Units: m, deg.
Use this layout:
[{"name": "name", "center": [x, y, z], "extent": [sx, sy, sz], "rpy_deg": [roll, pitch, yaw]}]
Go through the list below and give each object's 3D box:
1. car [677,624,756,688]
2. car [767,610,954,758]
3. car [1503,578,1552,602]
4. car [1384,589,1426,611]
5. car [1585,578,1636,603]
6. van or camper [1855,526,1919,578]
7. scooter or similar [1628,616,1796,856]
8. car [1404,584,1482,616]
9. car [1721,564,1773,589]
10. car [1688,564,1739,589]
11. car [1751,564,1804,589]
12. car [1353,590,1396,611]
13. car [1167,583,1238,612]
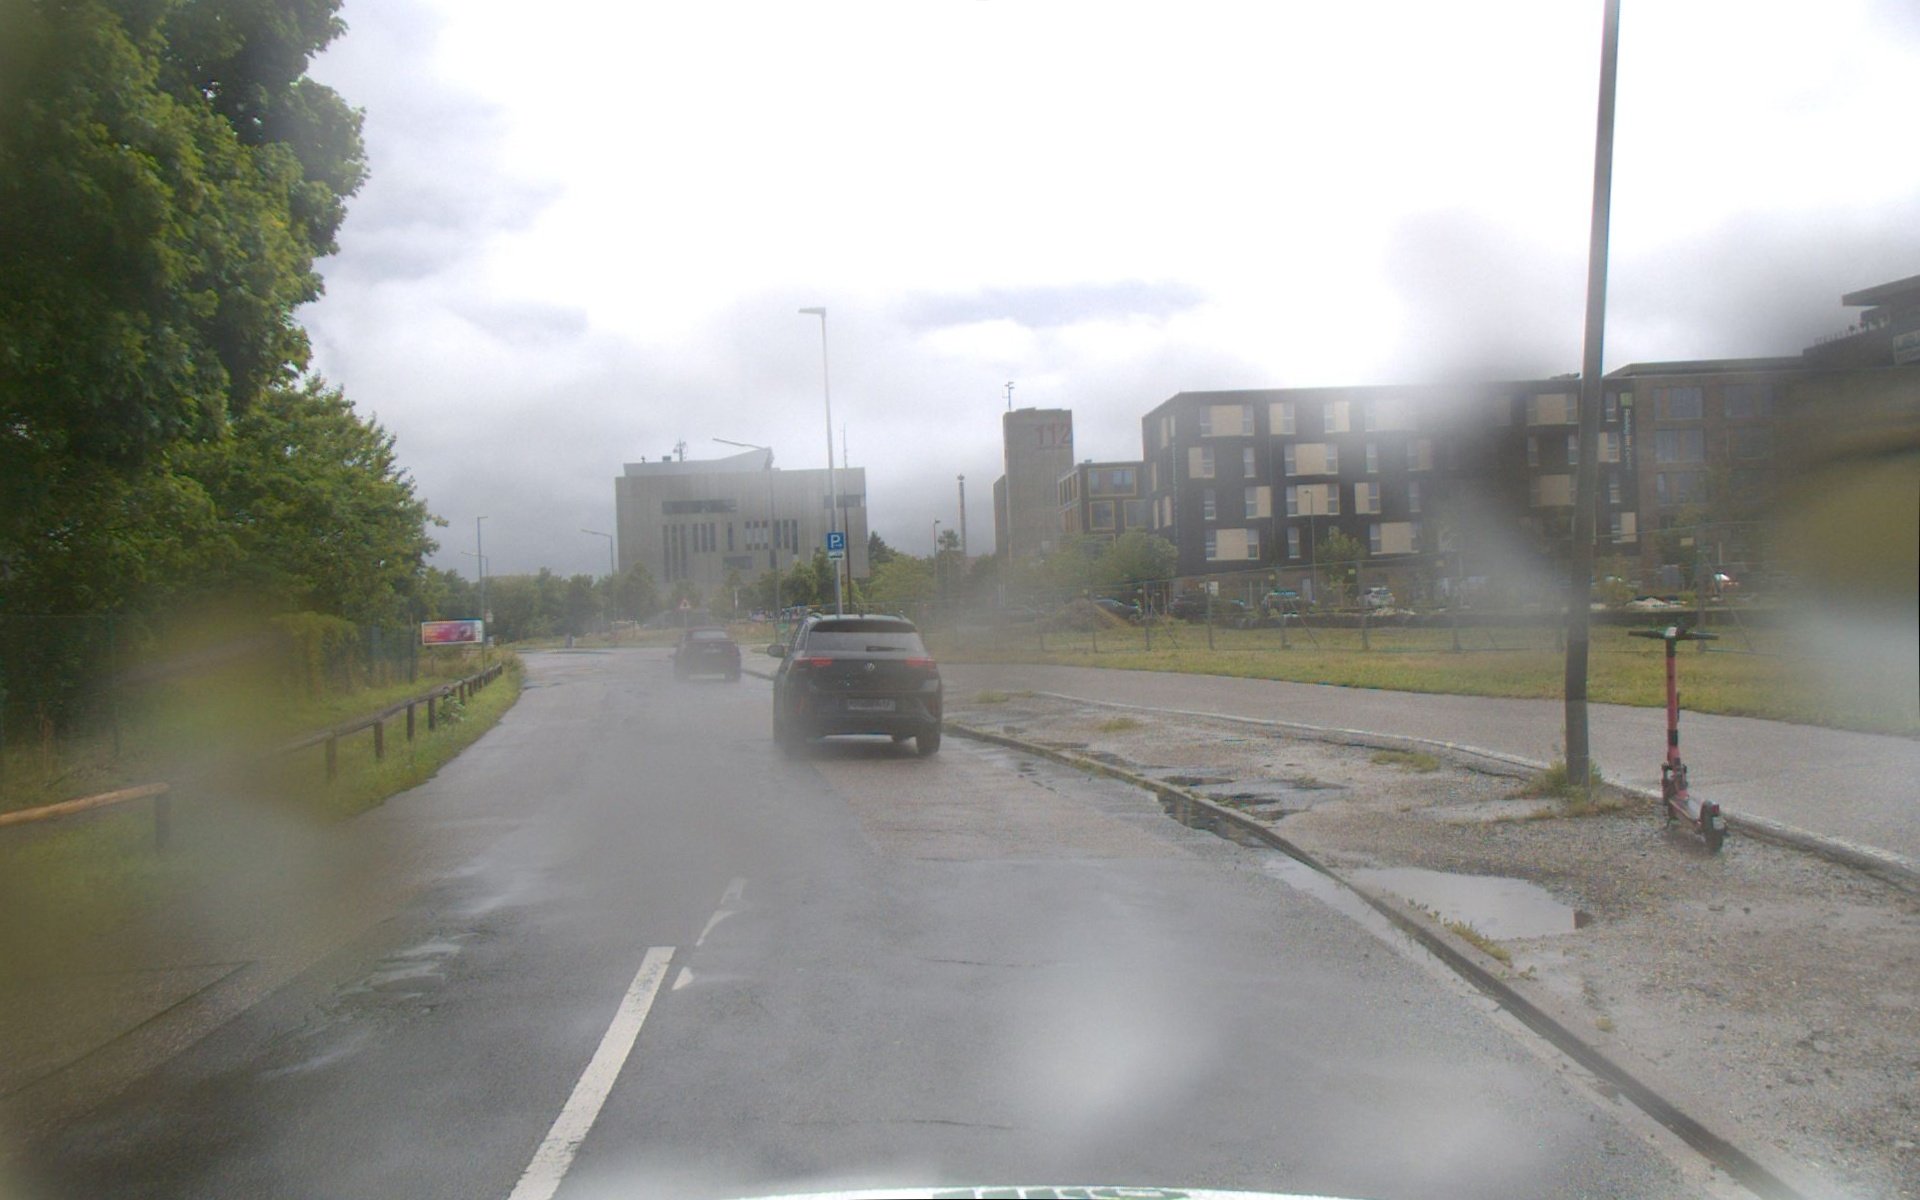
[{"name": "car", "center": [-6.687, 1.471, 45.075], "extent": [1.809, 1.466, 3.988], "rpy_deg": [-5, 1, -12]}, {"name": "car", "center": [-1.272, 0.900, 19.439], "extent": [1.949, 1.547, 3.993], "rpy_deg": [0, -1, -7]}, {"name": "car", "center": [38.950, -0.675, 113.655], "extent": [1.745, 1.644, 3.837], "rpy_deg": [0, -1, -6]}, {"name": "car", "center": [30.581, 0.021, 113.743], "extent": [1.606, 1.421, 3.777], "rpy_deg": [-1, -1, -5]}, {"name": "car", "center": [45.081, -0.633, 114.744], "extent": [1.745, 1.644, 3.837], "rpy_deg": [0, -1, -6]}, {"name": "van or camper", "center": [61.261, -3.044, 105.949], "extent": [6.645, 3.257, 2.527], "rpy_deg": [0, -1, -5]}, {"name": "scooter or similar", "center": [4.255, 0.728, 9.442], "extent": [0.480, 1.236, 1.341], "rpy_deg": [-3, 0, 9]}, {"name": "car", "center": [30.201, 0.018, 103.515], "extent": [4.238, 1.803, 1.998], "rpy_deg": [2, -1, -4]}, {"name": "car", "center": [54.997, -1.646, 115.589], "extent": [1.514, 1.644, 3.837], "rpy_deg": [0, -1, -6]}, {"name": "car", "center": [52.549, -1.650, 115.428], "extent": [1.514, 1.644, 3.837], "rpy_deg": [0, -1, -6]}, {"name": "car", "center": [57.262, -1.641, 115.864], "extent": [1.514, 1.644, 3.837], "rpy_deg": [0, -1, -6]}, {"name": "car", "center": [28.421, 0.060, 113.544], "extent": [1.728, 1.420, 3.803], "rpy_deg": [0, -1, -6]}, {"name": "car", "center": [14.886, -0.120, 101.554], "extent": [3.913, 1.758, 1.996], "rpy_deg": [0, -1, -9]}]
